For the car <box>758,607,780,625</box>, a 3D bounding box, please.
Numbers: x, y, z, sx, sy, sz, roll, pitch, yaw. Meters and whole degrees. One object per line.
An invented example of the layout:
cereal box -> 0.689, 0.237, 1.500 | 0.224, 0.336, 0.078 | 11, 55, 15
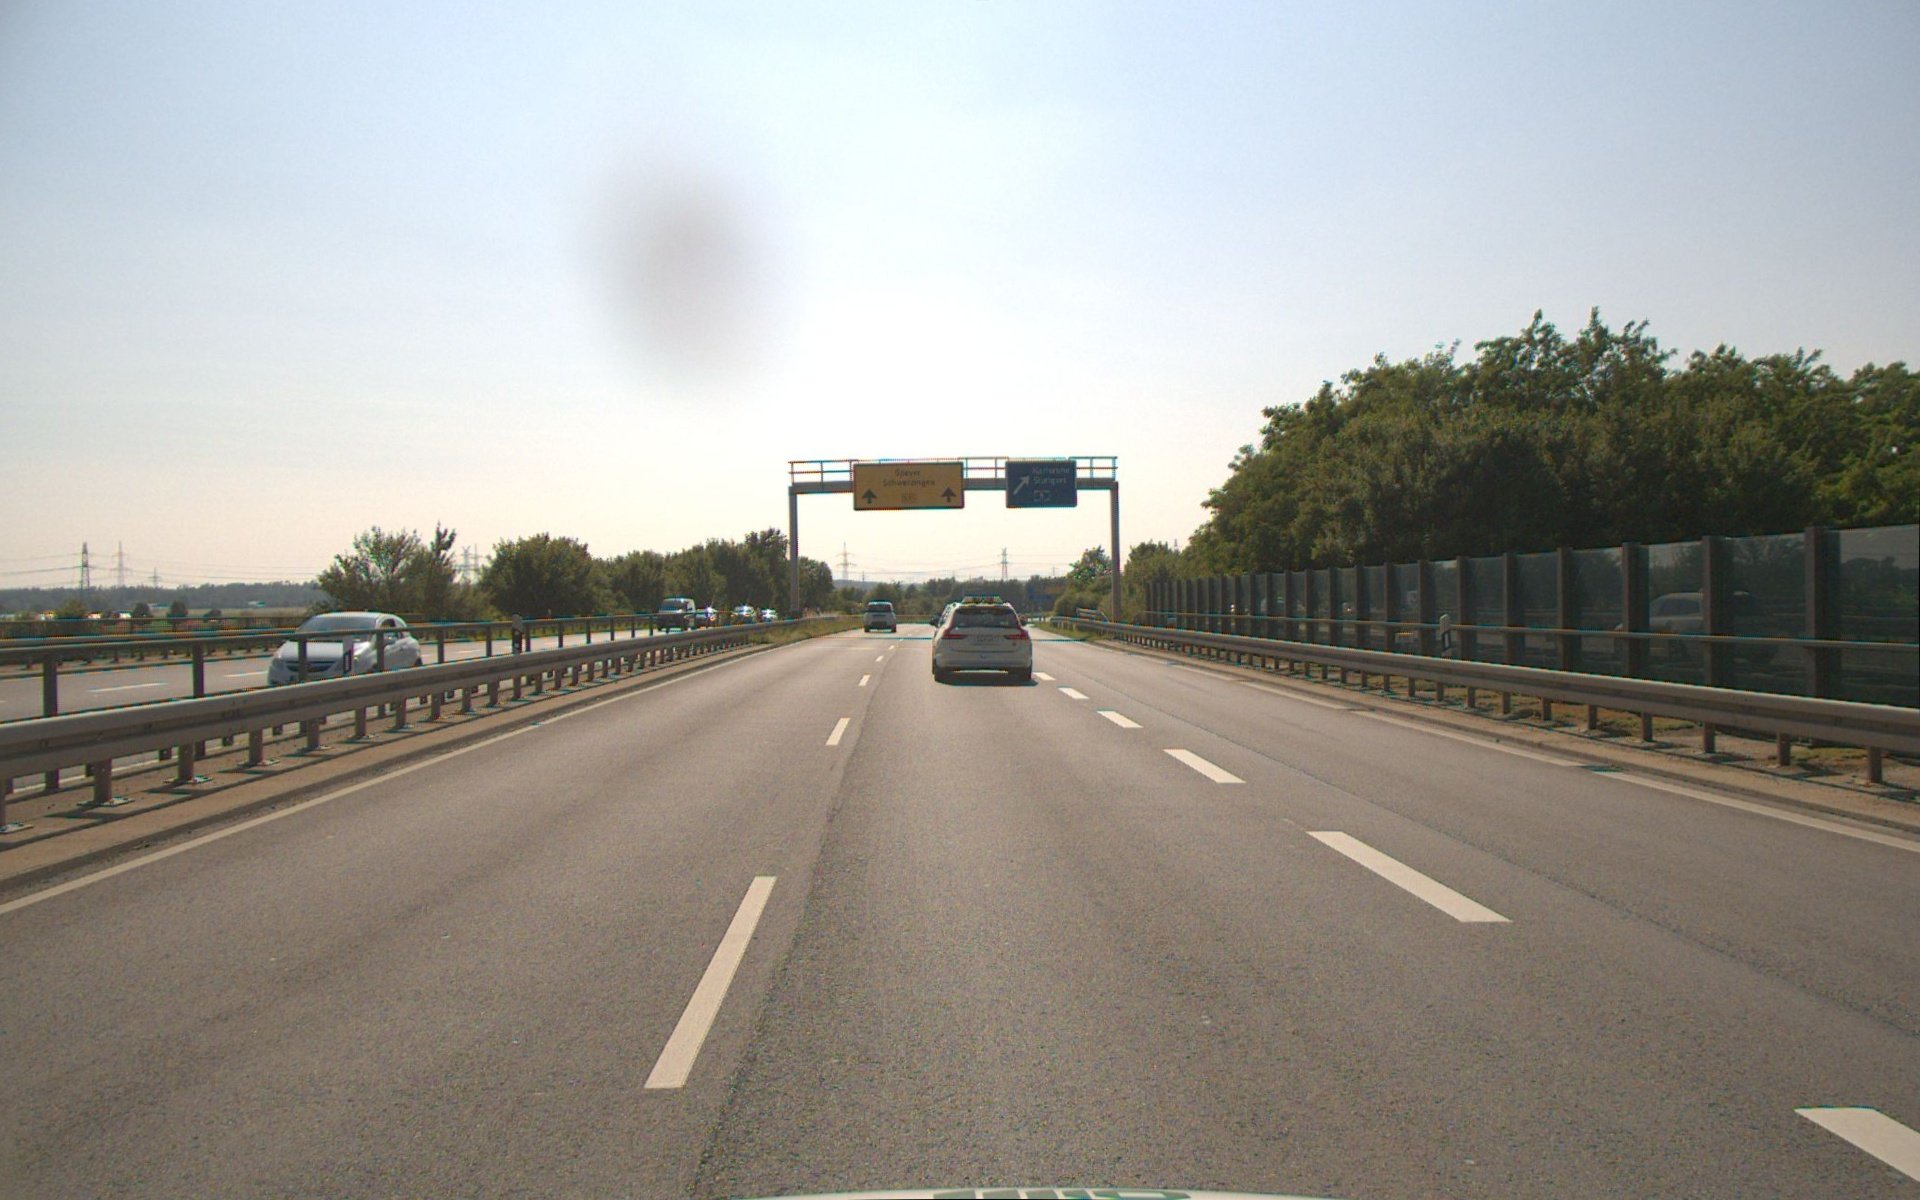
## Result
car -> -18.791, 1.550, 162.654 | 1.864, 1.648, 4.626 | 1, 0, -4

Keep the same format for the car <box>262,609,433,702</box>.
car -> -10.492, 0.903, 28.588 | 1.520, 1.441, 3.669 | 1, 0, 1

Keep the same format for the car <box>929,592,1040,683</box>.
car -> 0.415, 0.680, 32.249 | 1.919, 1.629, 4.105 | 1, 0, -3

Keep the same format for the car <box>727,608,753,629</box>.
car -> -18.154, 1.518, 136.569 | 1.698, 1.645, 4.001 | 0, 0, -2

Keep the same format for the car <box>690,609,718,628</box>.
car -> -18.052, 1.284, 116.868 | 1.534, 1.292, 3.714 | 0, 0, -2

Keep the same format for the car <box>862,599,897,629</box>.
car -> -4.193, 0.708, 86.677 | 1.757, 1.529, 4.041 | 0, -1, -2

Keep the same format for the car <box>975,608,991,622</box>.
car -> 2.950, 1.898, 211.763 | 1.804, 1.728, 3.999 | 0, -1, -1

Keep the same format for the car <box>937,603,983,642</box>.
car -> -0.030, 0.934, 69.760 | 1.757, 1.570, 3.670 | 0, -1, -2

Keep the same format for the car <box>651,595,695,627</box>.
car -> -17.801, 0.655, 102.655 | 1.953, 1.939, 4.417 | 0, 0, 0
